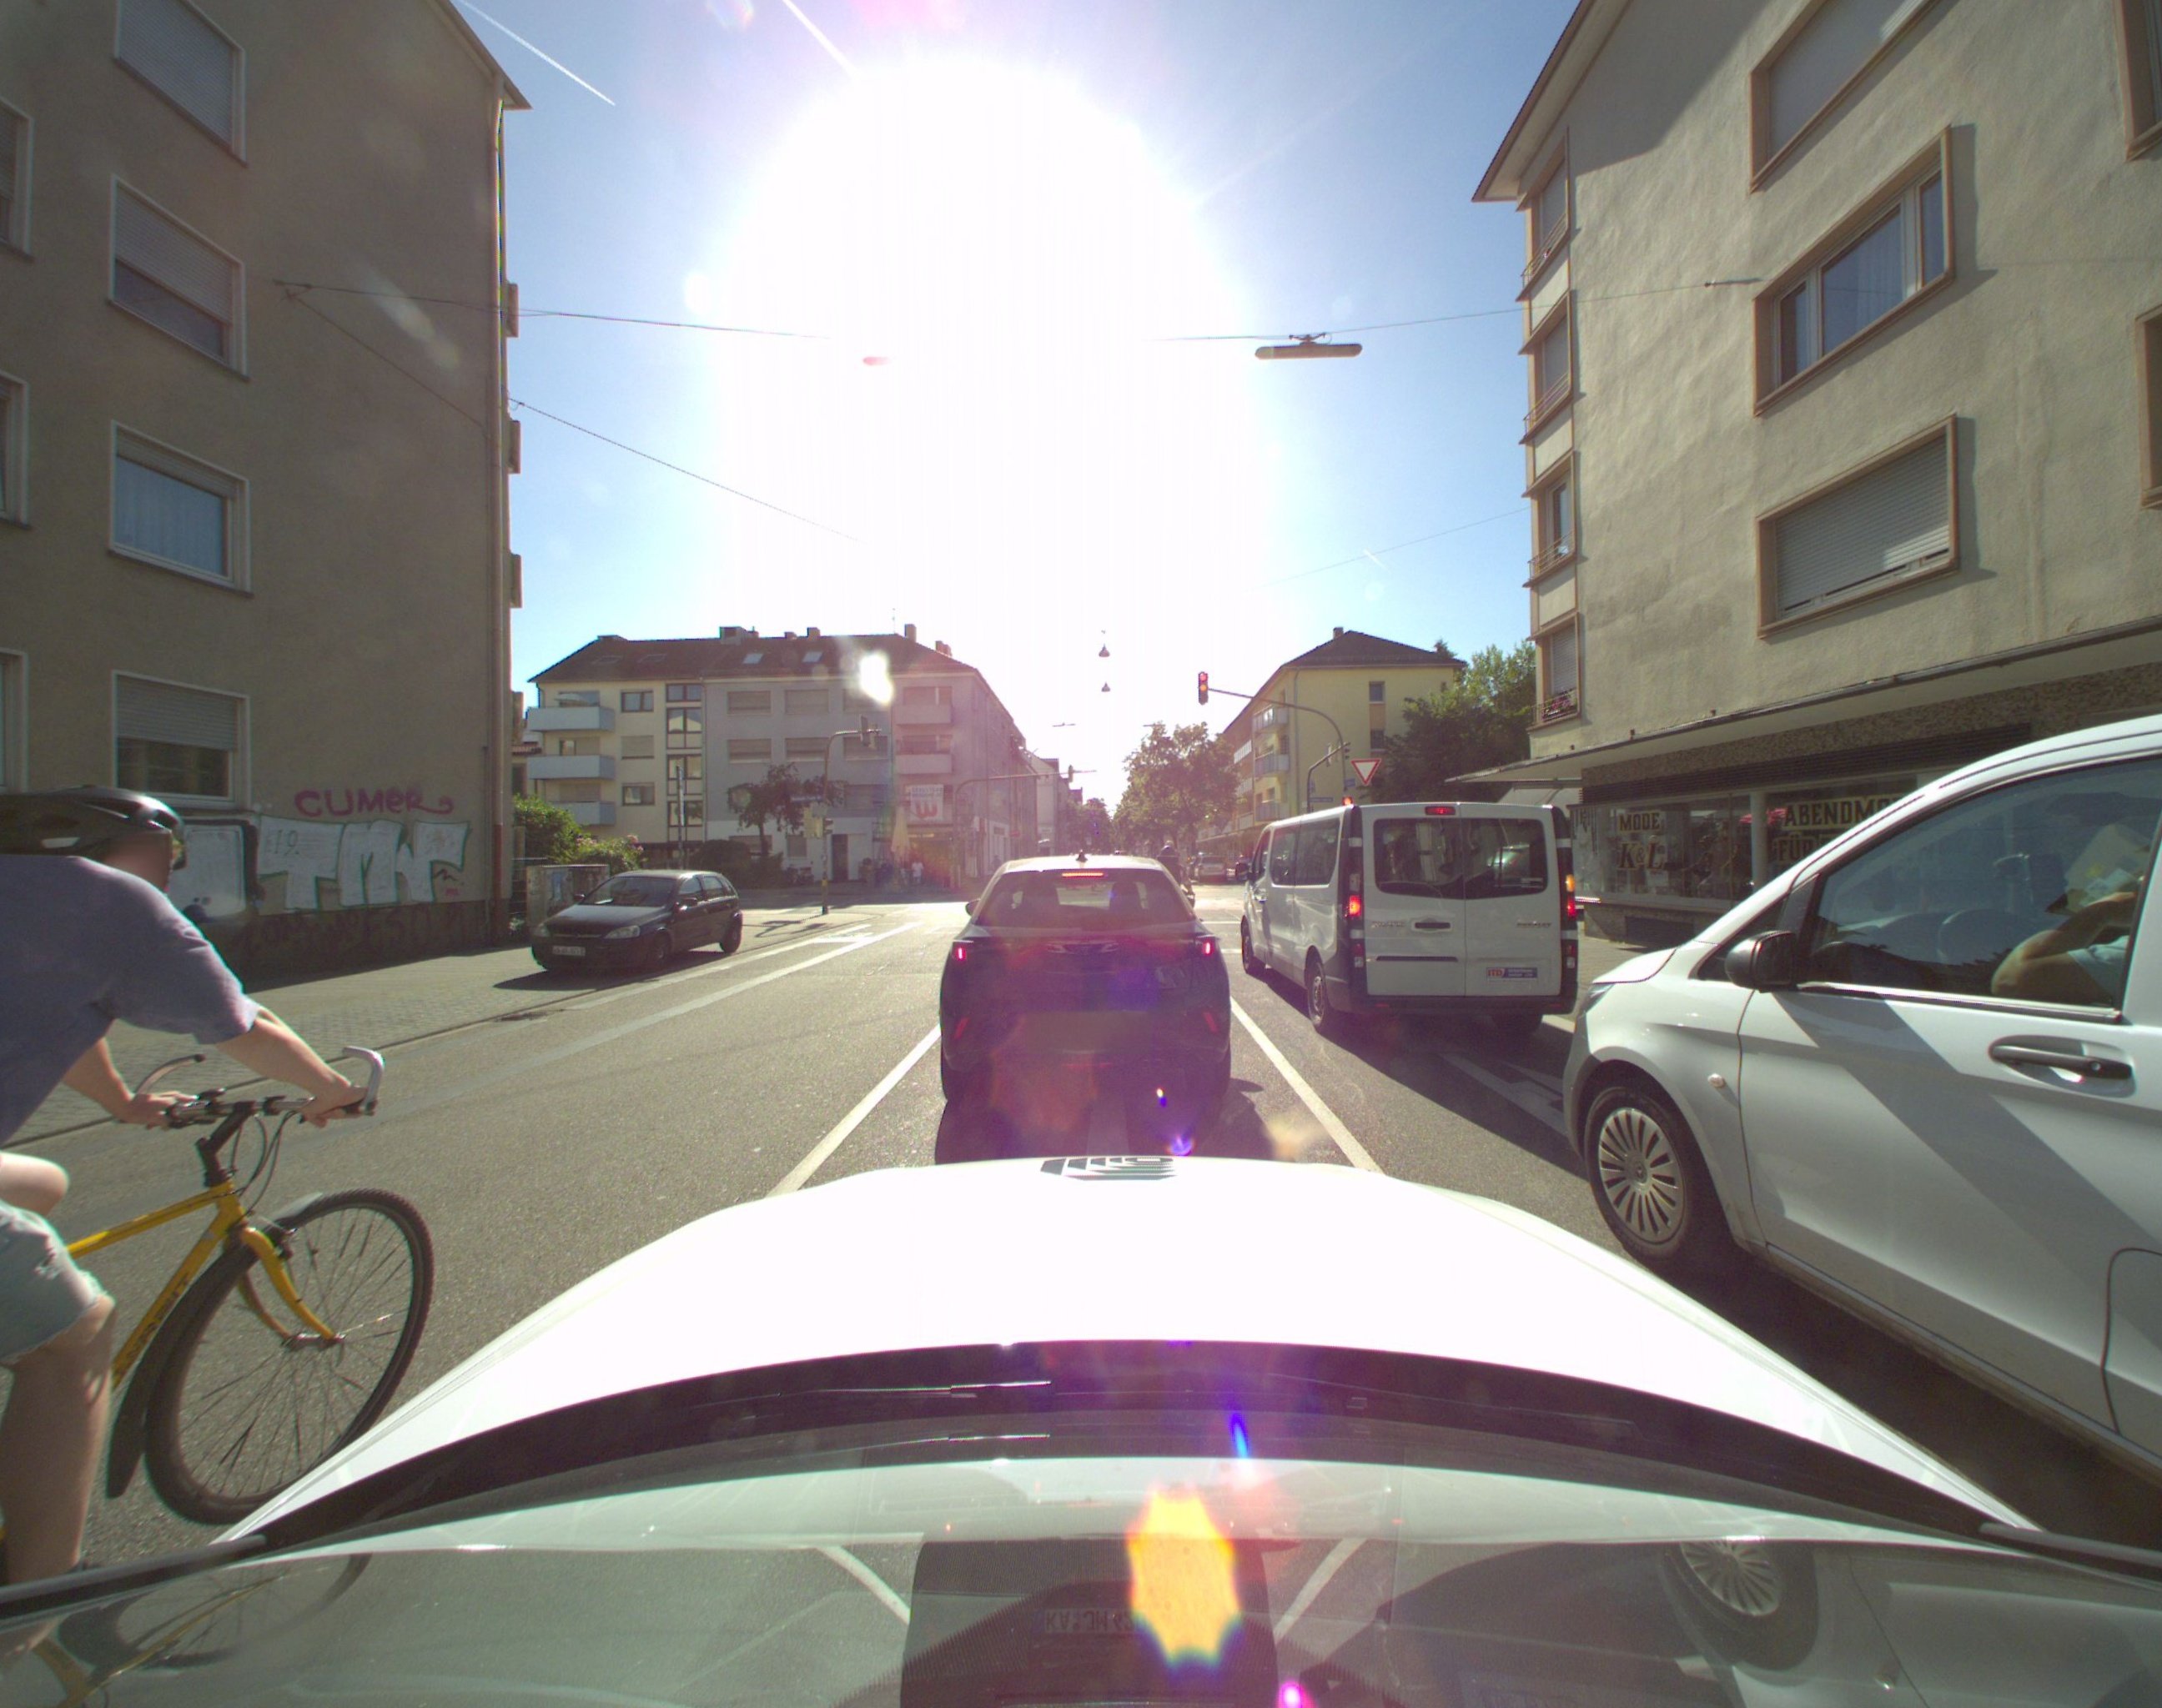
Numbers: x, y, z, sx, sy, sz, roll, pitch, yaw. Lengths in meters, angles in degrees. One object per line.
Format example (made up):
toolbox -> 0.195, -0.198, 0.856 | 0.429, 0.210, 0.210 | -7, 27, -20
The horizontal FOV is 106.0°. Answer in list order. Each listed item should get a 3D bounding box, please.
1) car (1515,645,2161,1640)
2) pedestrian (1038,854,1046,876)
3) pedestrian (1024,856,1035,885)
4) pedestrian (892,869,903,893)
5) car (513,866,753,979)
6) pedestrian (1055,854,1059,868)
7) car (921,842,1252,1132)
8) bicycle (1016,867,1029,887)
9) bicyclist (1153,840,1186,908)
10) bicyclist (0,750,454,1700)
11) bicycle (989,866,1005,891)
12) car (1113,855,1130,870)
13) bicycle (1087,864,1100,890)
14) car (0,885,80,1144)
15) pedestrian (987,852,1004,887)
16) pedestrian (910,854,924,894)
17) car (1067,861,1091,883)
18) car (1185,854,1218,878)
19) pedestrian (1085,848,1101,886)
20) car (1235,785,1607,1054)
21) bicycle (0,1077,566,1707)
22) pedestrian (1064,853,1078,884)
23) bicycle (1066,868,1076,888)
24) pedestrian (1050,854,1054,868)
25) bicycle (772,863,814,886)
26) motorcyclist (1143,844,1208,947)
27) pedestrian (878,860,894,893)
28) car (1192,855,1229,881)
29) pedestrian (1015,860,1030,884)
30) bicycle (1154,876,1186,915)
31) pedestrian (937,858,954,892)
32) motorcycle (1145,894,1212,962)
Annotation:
car -> 2.935, 0.529, 1.260 | 1.830, 1.869, 4.995 | -1, 0, 0
pedestrian -> -2.970, 0.823, 62.005 | 0.486, 1.690, 0.588 | -1, 0, 1
pedestrian -> -3.068, 0.985, 48.716 | 0.568, 1.690, 0.588 | -1, 0, 1
pedestrian -> -8.411, 1.252, 37.368 | 0.354, 1.092, 0.461 | -1, 0, -1
car -> -6.784, 0.952, 12.831 | 1.610, 1.425, 3.711 | 1, 0, 1
pedestrian -> -2.889, 0.823, 98.144 | 0.400, 1.675, 0.418 | -1, 0, 1
car -> 0.038, 0.719, 6.414 | 1.765, 1.530, 3.999 | -1, 0, 0
bicycle -> -3.055, 1.203, 42.741 | 0.520, 0.992, 2.339 | -1, 0, 0
bicyclist -> 2.288, 0.503, 21.166 | 0.687, 1.712, 1.414 | -1, 0, 0
bicyclist -> -1.873, 0.525, 1.533 | 0.607, 1.346, 1.017 | -1, 1, -4
bicycle -> -4.054, 1.170, 39.416 | 0.520, 1.147, 2.283 | -1, 0, 0
car -> 4.891, 0.996, 98.227 | 1.894, 1.728, 4.076 | -1, 0, 3
bicycle -> 0.557, 1.039, 37.321 | 0.520, 1.147, 2.170 | -1, 0, 0
car -> -7.121, 0.916, 2.624 | 1.711, 1.465, 4.817 | 1, 0, 2
pedestrian -> -4.074, 0.739, 38.985 | 0.704, 1.678, 0.802 | -1, 0, 0
pedestrian -> -7.282, 0.891, 36.201 | 0.560, 1.775, 0.582 | -1, 0, -7
car -> -0.146, 1.543, 70.908 | 1.817, 1.728, 4.004 | -1, 0, 3
car -> 7.646, 0.758, 51.907 | 1.628, 1.433, 4.002 | -1, 0, 2
pedestrian -> 0.548, 0.592, 37.291 | 0.704, 1.701, 0.802 | -1, 0, 0
car -> 3.012, 0.490, 8.560 | 1.986, 1.979, 4.897 | 1, 0, 2
bicycle -> -1.874, 1.157, 1.627 | 0.609, 0.881, 1.812 | -1, 1, -4
pedestrian -> -0.493, 0.738, 41.734 | 0.678, 1.606, 0.762 | -1, 0, 0
bicycle -> -0.503, 1.221, 41.835 | 0.442, 0.992, 2.068 | -1, 0, 0
pedestrian -> -3.537, 0.819, 98.304 | 0.400, 1.675, 0.418 | -1, 0, 1
bicycle -> -15.328, 1.079, 43.340 | 2.103, 1.172, 0.735 | -1, 0, -22
motorcyclist -> 1.435, 0.609, 12.531 | 0.861, 1.502, 1.160 | -1, 0, 1
pedestrian -> -8.922, 1.025, 37.298 | 0.582, 1.521, 0.649 | -1, 0, -1
car -> 7.482, 0.780, 47.227 | 1.628, 1.433, 3.958 | -1, 0, 2
pedestrian -> -3.078, 0.925, 42.658 | 0.704, 1.253, 0.802 | -1, 0, 0
bicycle -> 2.297, 1.050, 21.210 | 0.575, 0.904, 2.301 | -1, 0, 0
pedestrian -> -6.059, 0.935, 36.460 | 0.615, 1.521, 0.724 | -1, 0, -1
motorcycle -> 1.433, 1.082, 12.320 | 0.822, 0.845, 1.885 | -1, 0, 1
